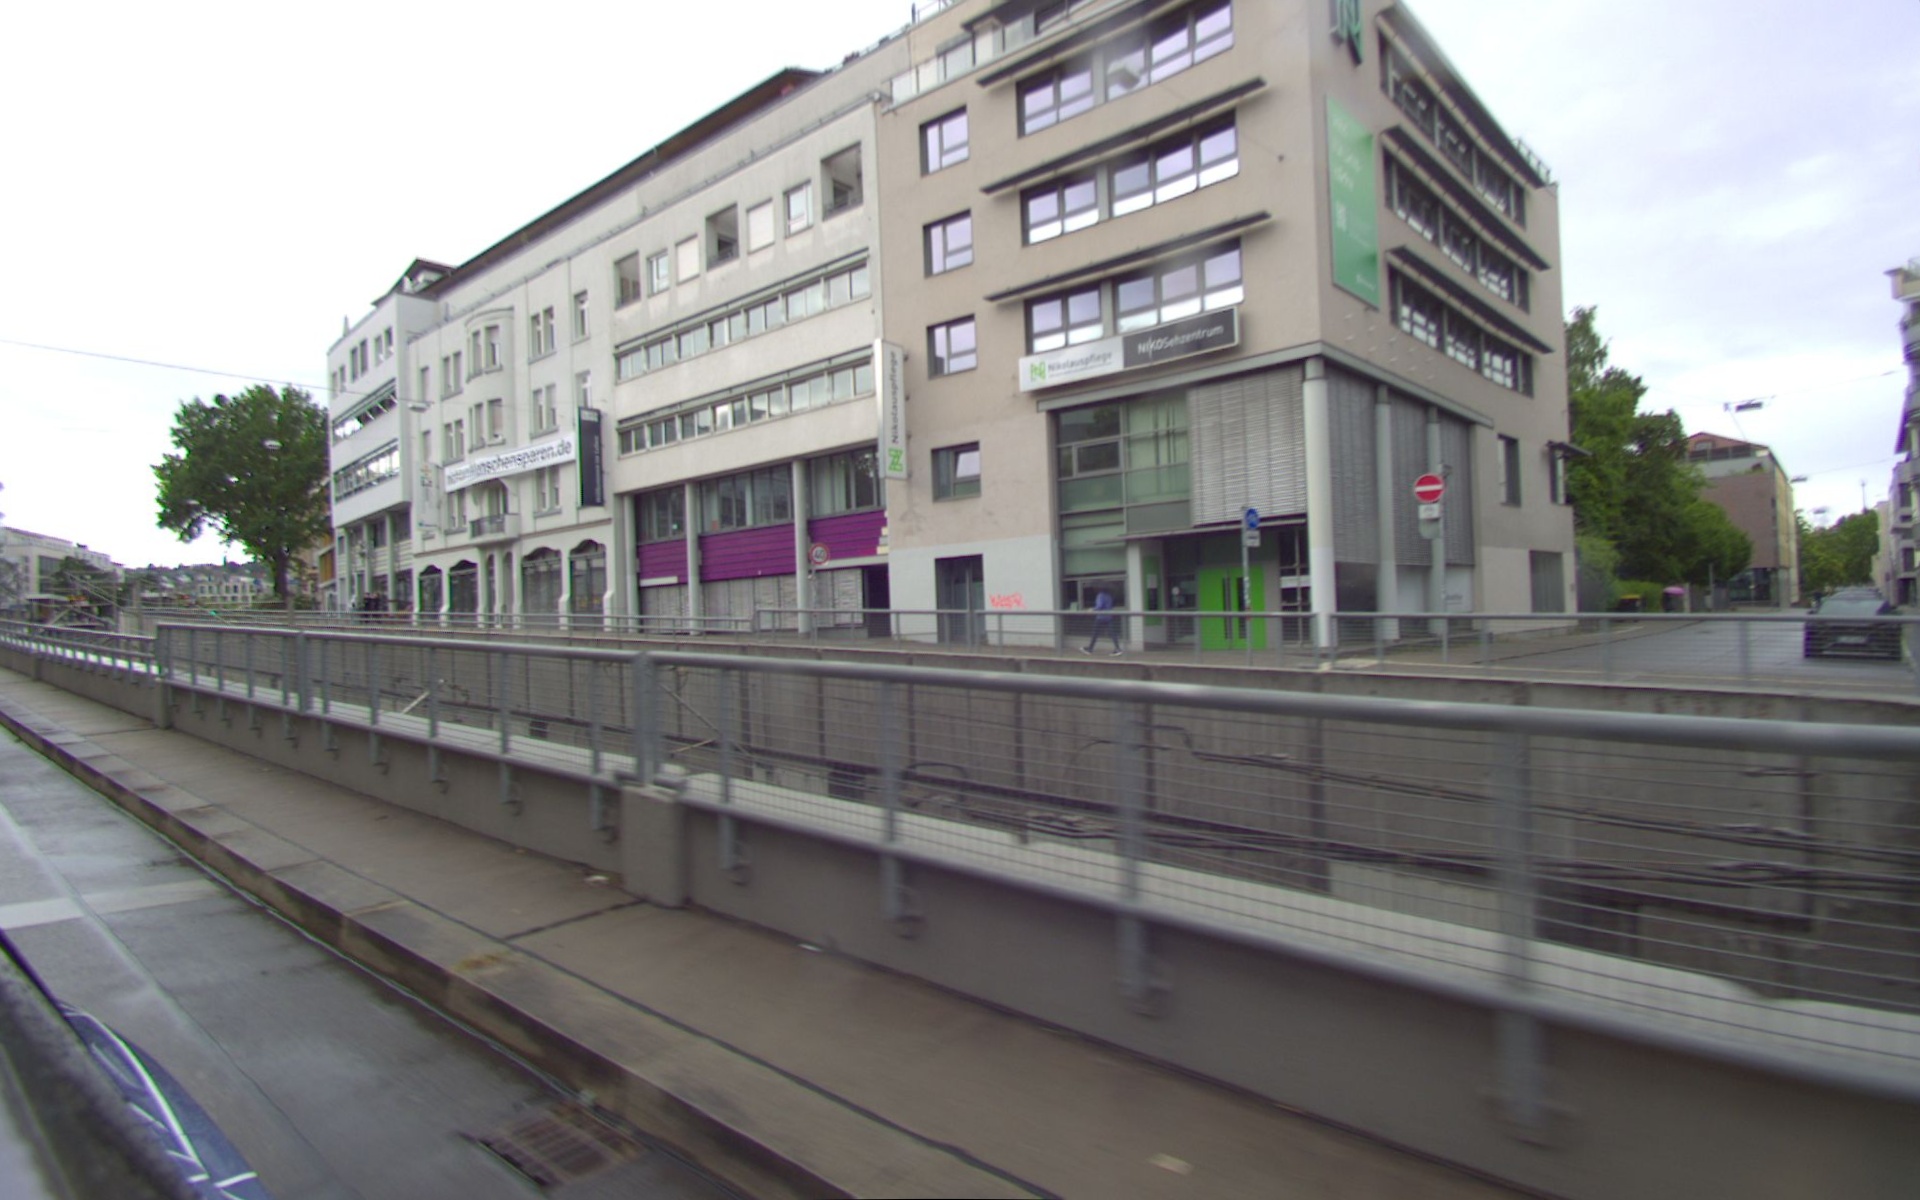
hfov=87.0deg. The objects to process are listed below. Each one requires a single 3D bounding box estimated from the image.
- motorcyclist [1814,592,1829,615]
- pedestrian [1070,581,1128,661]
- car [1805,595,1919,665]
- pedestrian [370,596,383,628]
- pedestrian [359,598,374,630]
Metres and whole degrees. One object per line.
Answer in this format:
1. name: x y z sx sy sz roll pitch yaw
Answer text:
1. motorcyclist: 70.158 0.257 82.418 0.860 1.821 1.001 -1 0 42
2. pedestrian: 3.339 0.496 24.251 1.059 1.852 0.848 -1 0 41
3. car: 22.067 0.697 24.807 1.998 1.569 3.947 -2 -1 39
4. pedestrian: -33.046 0.693 57.329 0.547 1.816 0.463 -1 0 44
5. pedestrian: -34.060 0.784 58.079 0.469 1.816 0.541 -1 0 33
